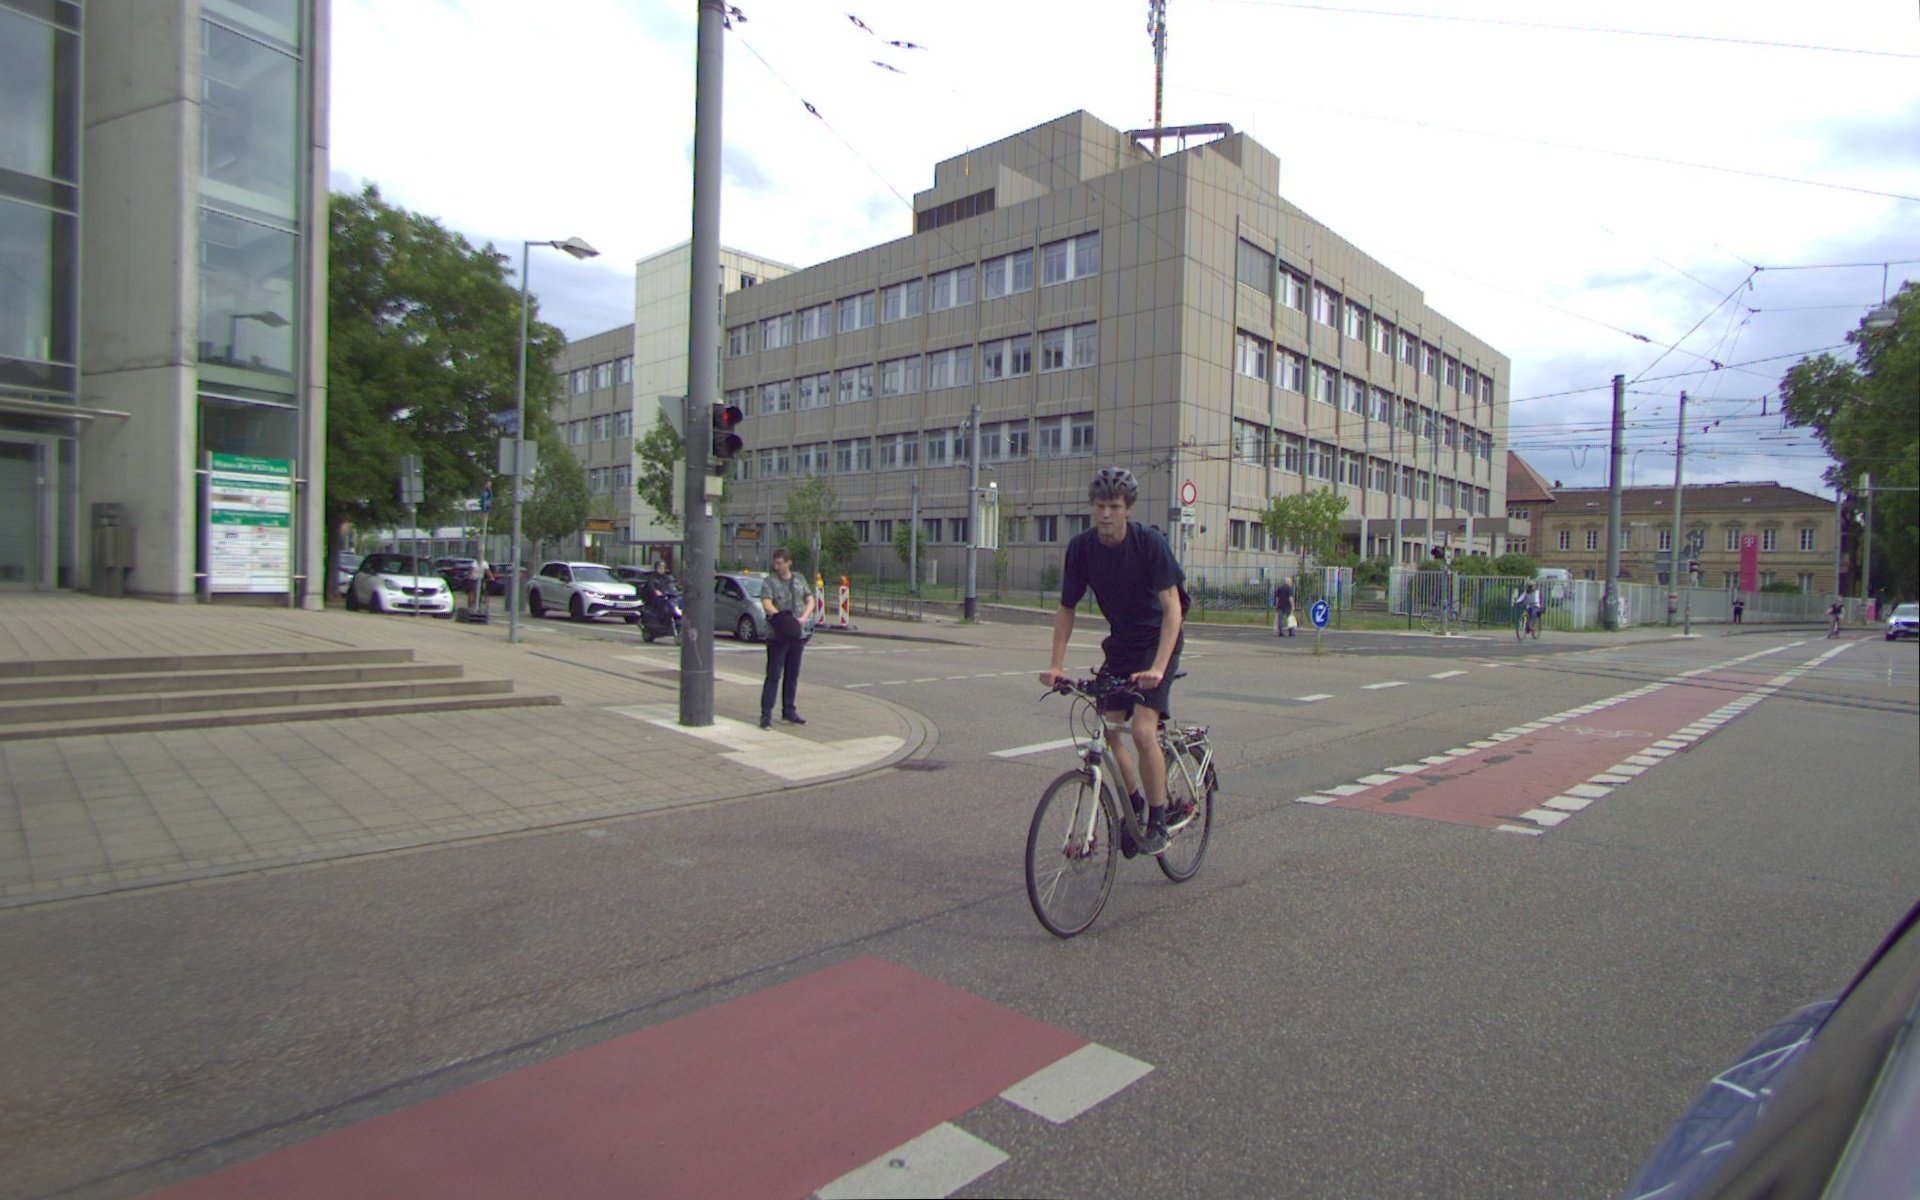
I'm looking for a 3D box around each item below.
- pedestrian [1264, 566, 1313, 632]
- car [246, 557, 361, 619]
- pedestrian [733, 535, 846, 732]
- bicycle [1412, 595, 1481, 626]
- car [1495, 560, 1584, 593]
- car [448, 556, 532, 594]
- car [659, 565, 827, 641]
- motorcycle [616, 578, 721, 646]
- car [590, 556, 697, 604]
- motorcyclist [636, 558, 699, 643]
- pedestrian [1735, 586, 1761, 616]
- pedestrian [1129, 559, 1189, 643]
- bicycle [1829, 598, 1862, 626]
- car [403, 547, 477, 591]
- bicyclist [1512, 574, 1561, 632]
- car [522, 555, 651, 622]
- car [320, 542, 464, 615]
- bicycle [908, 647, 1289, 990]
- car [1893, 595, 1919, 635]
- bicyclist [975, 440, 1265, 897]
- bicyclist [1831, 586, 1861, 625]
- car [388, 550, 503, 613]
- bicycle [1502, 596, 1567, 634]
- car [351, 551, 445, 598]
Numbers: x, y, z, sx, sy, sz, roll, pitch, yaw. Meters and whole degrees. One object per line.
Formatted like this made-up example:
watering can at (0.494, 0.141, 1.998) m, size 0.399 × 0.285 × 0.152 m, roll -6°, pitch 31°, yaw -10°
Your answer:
pedestrian at (9.595, -0.034, 29.567) m, size 0.974 × 1.878 × 0.901 m, roll 1°, pitch 2°, yaw -38°
car at (-19.350, -0.374, 29.749) m, size 4.202 × 1.576 × 1.807 m, roll 3°, pitch 0°, yaw 43°
pedestrian at (-1.731, 0.304, 10.241) m, size 0.821 × 1.888 × 0.765 m, roll 1°, pitch 2°, yaw -39°
bicycle at (16.959, 0.359, 35.297) m, size 2.116 × 0.993 × 0.635 m, roll -1°, pitch 1°, yaw -3°
car at (47.044, -1.939, 82.202) m, size 5.875 × 2.428 × 2.531 m, roll 3°, pitch 2°, yaw 41°
car at (-21.801, -1.154, 46.895) m, size 4.192 × 1.625 × 1.848 m, roll 3°, pitch 2°, yaw 39°
car at (-5.123, 0.030, 23.585) m, size 4.220 × 1.525 × 1.647 m, roll 3°, pitch 0°, yaw 43°
motorcycle at (-5.827, 0.217, 20.156) m, size 2.494 × 1.215 × 0.815 m, roll 3°, pitch 1°, yaw 43°
car at (-11.854, -0.765, 37.768) m, size 4.067 × 1.648 × 1.859 m, roll 3°, pitch 2°, yaw 39°
motorcyclist at (-5.832, -0.005, 20.185) m, size 0.879 × 1.637 × 0.809 m, roll 3°, pitch 0°, yaw 43°
pedestrian at (43.242, 0.055, 55.537) m, size 0.963 × 1.589 × 0.883 m, roll 1°, pitch 2°, yaw -41°
pedestrian at (4.757, 0.015, 24.144) m, size 1.071 × 1.921 × 0.900 m, roll 0°, pitch 2°, yaw -42°
bicycle at (37.196, 0.479, 42.488) m, size 2.519 × 1.100 × 0.801 m, roll 0°, pitch 2°, yaw -44°
car at (-25.776, -1.551, 50.142) m, size 4.101 × 2.012 × 1.766 m, roll 3°, pitch 2°, yaw 39°
bicyclist at (17.703, 0.094, 31.094) m, size 1.159 × 1.722 × 0.804 m, roll 1°, pitch 1°, yaw -32°
car at (-10.629, -0.340, 28.639) m, size 4.119 × 1.681 × 1.693 m, roll 3°, pitch 0°, yaw 43°
car at (-13.930, -0.549, 24.730) m, size 4.202 × 1.576 × 1.807 m, roll 3°, pitch 0°, yaw 43°
bicycle at (0.757, 0.840, 4.738) m, size 0.799 × 1.100 × 2.102 m, roll 3°, pitch 2°, yaw 38°
car at (38.839, 0.613, 40.516) m, size 1.995 × 1.523 × 4.349 m, roll 3°, pitch 2°, yaw 45°
bicyclist at (0.777, 0.255, 4.728) m, size 0.795 × 1.807 × 1.216 m, roll 3°, pitch 1°, yaw 39°
bicyclist at (37.151, 0.221, 42.432) m, size 1.307 × 1.569 × 0.801 m, roll 0°, pitch 2°, yaw -44°
car at (-15.484, -0.581, 30.353) m, size 4.119 × 1.681 × 1.693 m, roll 3°, pitch 0°, yaw 43°
bicycle at (17.651, 0.470, 31.089) m, size 2.141 × 1.100 × 0.804 m, roll 1°, pitch 2°, yaw -32°
car at (-21.580, -0.987, 38.812) m, size 4.167 × 1.605 × 1.880 m, roll 3°, pitch 0°, yaw 43°
